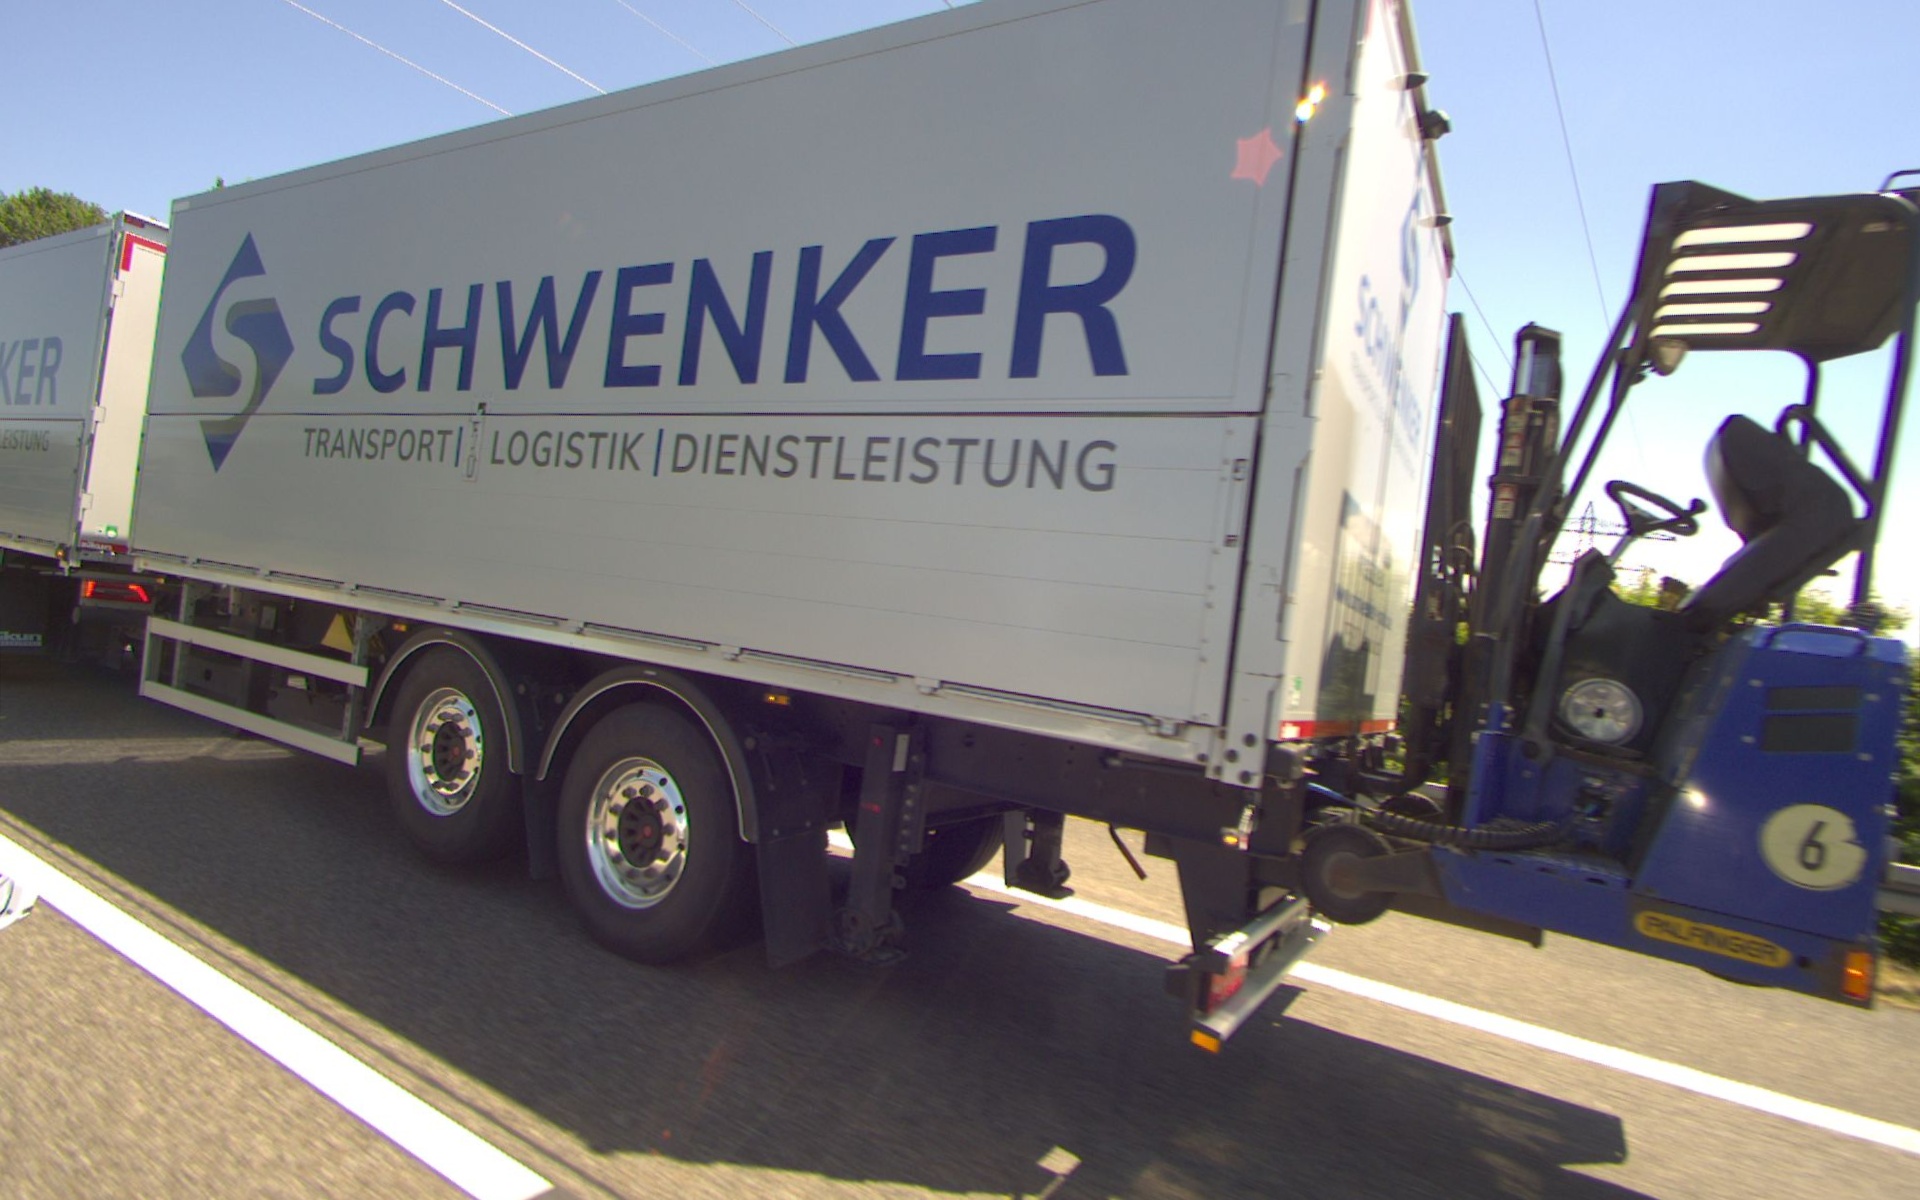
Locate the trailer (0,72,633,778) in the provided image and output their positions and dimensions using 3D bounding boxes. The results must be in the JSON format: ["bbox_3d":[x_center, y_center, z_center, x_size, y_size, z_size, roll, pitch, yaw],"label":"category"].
[{"bbox_3d":[-6.740,-1.197,8.899,7.195,4.088,2.926,6,-2,31],"label":"trailer"}]

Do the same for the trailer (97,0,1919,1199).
[{"bbox_3d":[-0.792,-0.499,5.244,7.993,4.110,2.951,6,-2,31],"label":"trailer"}]

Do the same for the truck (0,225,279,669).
[{"bbox_3d":[-11.615,-1.706,12.006,6.756,4.077,2.895,6,-2,32],"label":"truck"}]
